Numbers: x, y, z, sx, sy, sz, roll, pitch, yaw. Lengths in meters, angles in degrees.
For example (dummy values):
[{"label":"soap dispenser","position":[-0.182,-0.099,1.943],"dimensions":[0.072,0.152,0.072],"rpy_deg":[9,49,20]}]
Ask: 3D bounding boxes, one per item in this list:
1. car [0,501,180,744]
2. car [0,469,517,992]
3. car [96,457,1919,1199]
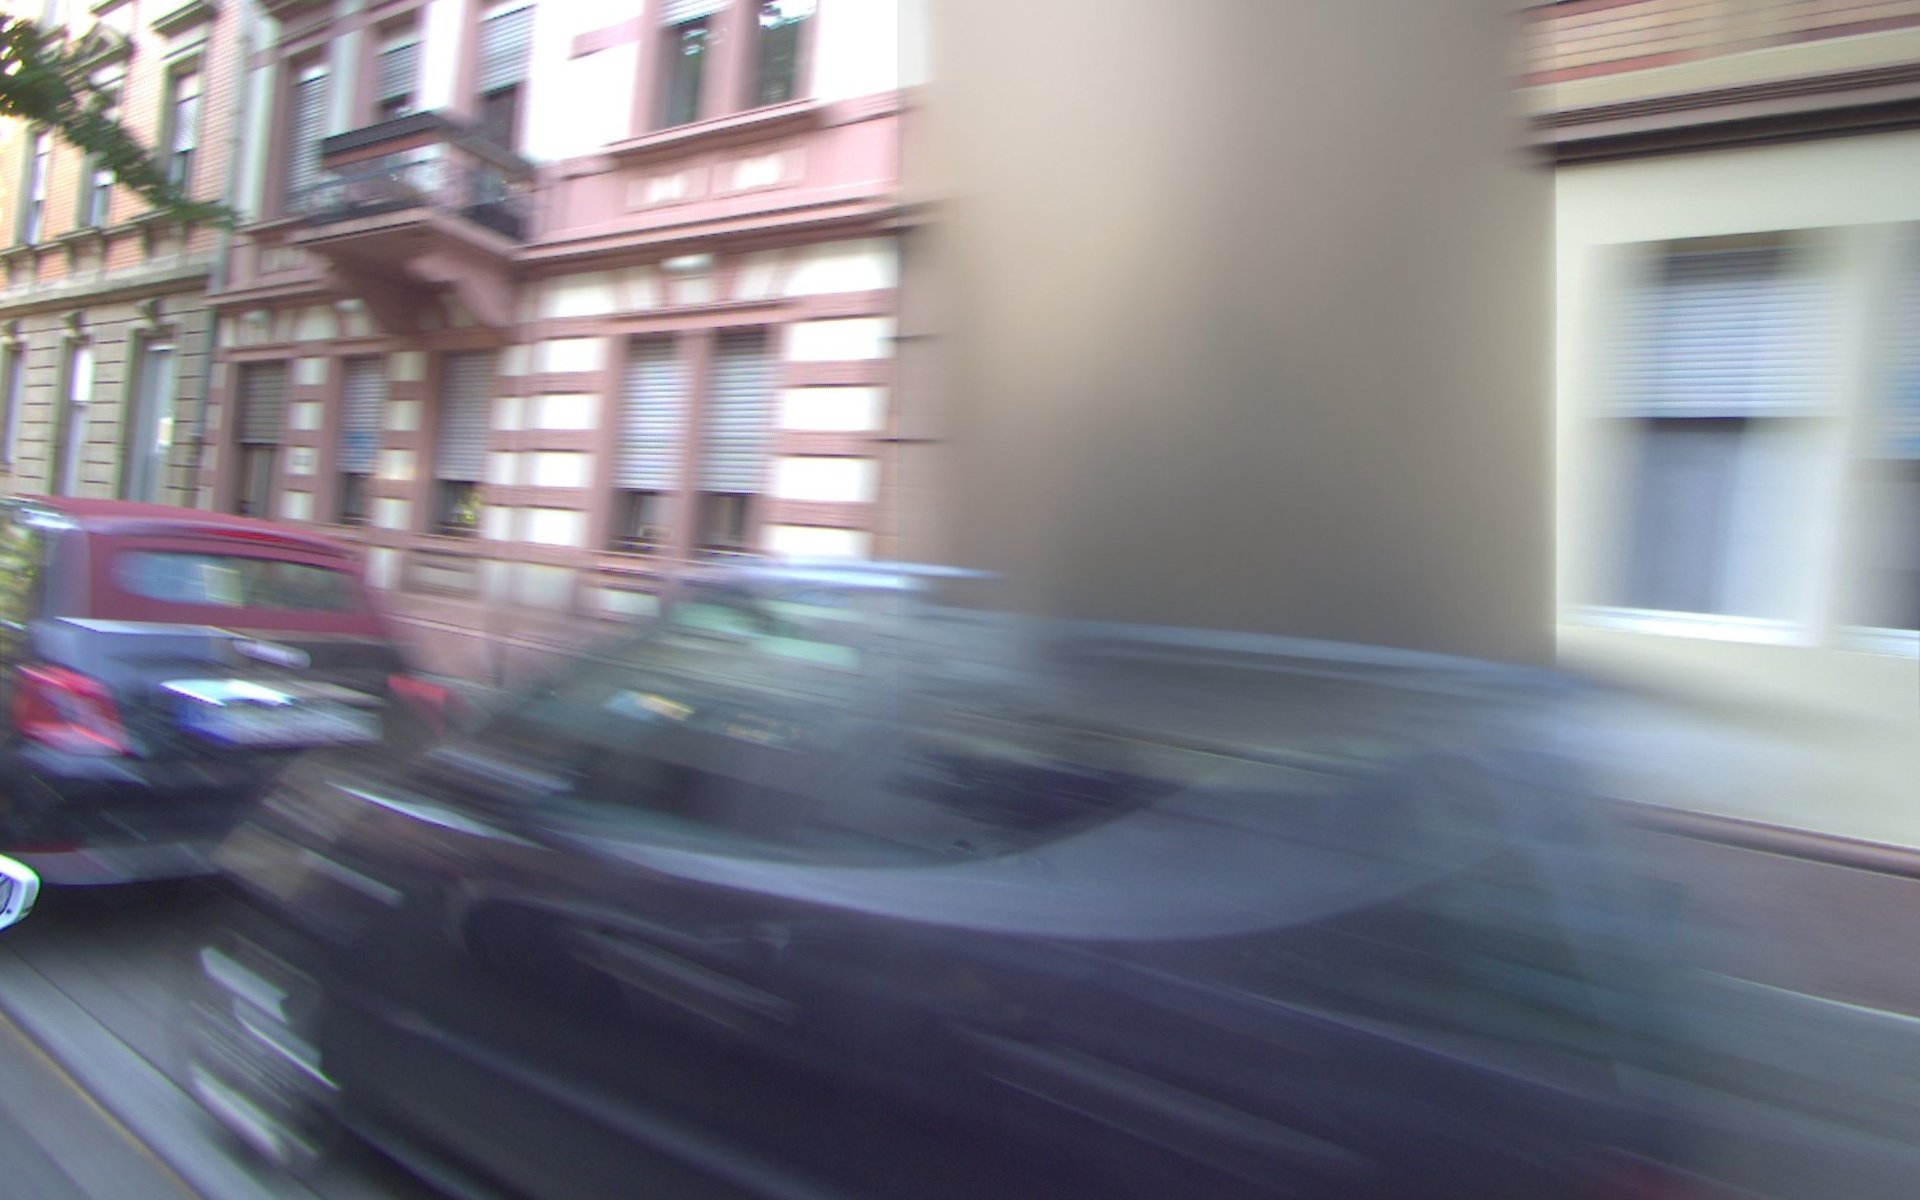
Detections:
[{"label":"car","position":[-7.228,-0.044,6.755],"dimensions":[3.748,1.421,1.718],"rpy_deg":[6,0,29]},{"label":"car","position":[-3.795,0.295,4.512],"dimensions":[3.553,1.514,1.552],"rpy_deg":[6,-1,34]},{"label":"car","position":[-0.223,0.639,2.432],"dimensions":[3.702,1.578,1.614],"rpy_deg":[6,0,30]}]
